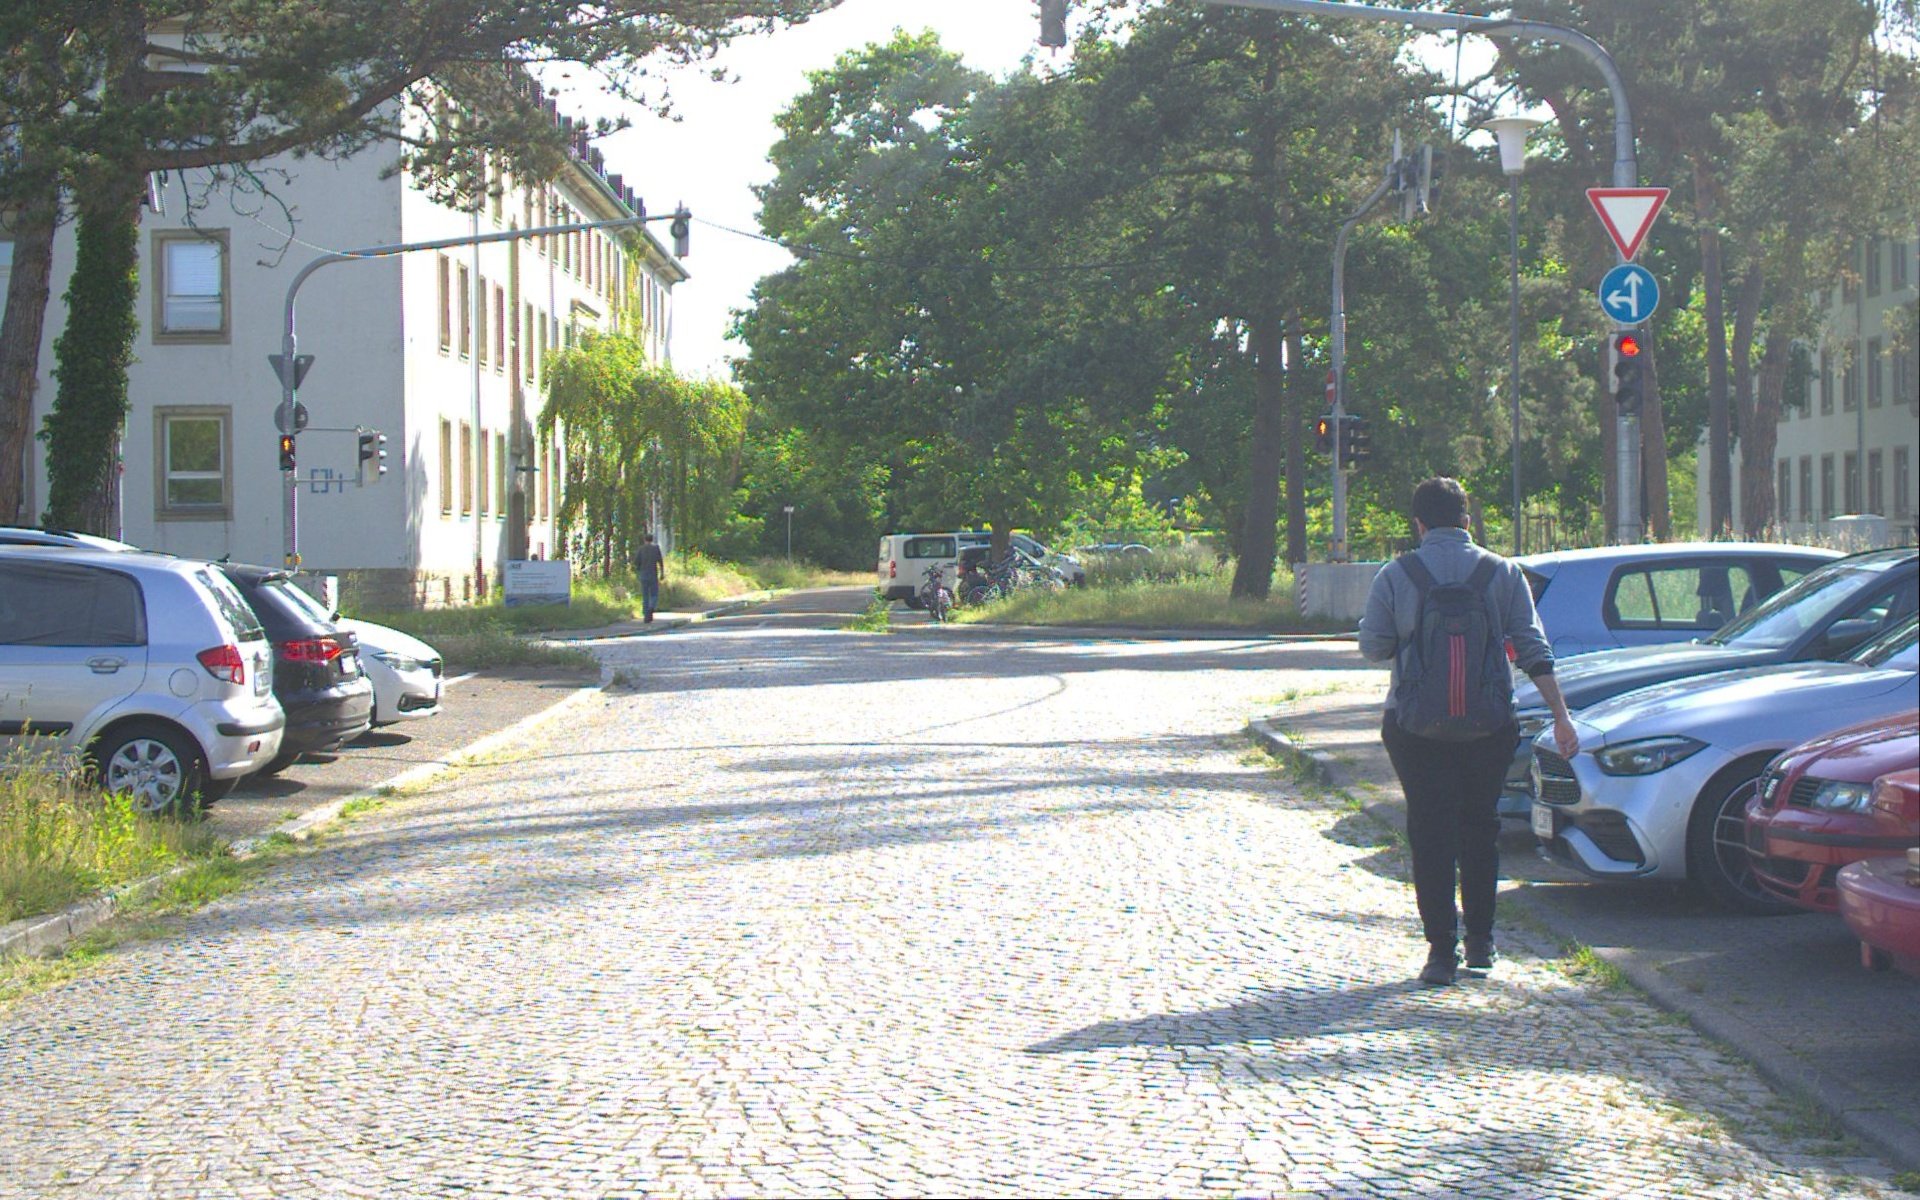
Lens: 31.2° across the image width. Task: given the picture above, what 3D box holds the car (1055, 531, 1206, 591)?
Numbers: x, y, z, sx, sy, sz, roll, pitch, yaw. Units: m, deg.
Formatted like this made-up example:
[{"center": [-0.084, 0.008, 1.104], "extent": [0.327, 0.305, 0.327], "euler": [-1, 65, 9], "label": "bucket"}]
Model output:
[{"center": [4.490, -1.039, 90.821], "extent": [3.743, 1.574, 1.742], "euler": [0, 1, -7], "label": "car"}]

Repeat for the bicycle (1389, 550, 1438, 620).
[{"center": [7.546, -0.263, 57.094], "extent": [0.722, 1.111, 2.582], "euler": [0, 1, 9], "label": "bicycle"}]

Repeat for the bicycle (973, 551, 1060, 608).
[{"center": [1.157, -0.422, 70.239], "extent": [1.727, 1.160, 0.561], "euler": [-1, 1, -3], "label": "bicycle"}]

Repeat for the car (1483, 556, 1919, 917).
[{"center": [4.613, 0.504, 14.781], "extent": [4.399, 1.384, 1.789], "euler": [-2, 1, -1], "label": "car"}]

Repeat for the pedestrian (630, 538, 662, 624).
[{"center": [-6.440, -0.391, 70.442], "extent": [0.607, 1.746, 0.630], "euler": [0, 1, -1], "label": "pedestrian"}]

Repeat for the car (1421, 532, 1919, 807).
[{"center": [4.658, 0.360, 20.059], "extent": [3.673, 1.438, 1.665], "euler": [-2, 1, 0], "label": "car"}]

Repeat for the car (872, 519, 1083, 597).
[{"center": [0.421, -1.073, 86.898], "extent": [5.065, 1.911, 2.001], "euler": [-1, 1, -9], "label": "car"}]

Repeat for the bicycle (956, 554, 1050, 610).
[{"center": [0.860, -0.364, 69.015], "extent": [1.834, 1.108, 0.495], "euler": [-1, 1, -3], "label": "bicycle"}]

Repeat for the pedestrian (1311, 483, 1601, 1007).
[{"center": [1.717, 0.484, 12.026], "extent": [0.753, 1.719, 0.828], "euler": [4, 1, -1], "label": "pedestrian"}]

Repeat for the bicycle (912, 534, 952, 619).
[{"center": [-0.540, -0.463, 65.558], "extent": [0.753, 1.575, 2.537], "euler": [0, 1, -1], "label": "bicycle"}]

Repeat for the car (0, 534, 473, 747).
[{"center": [-6.051, 0.286, 27.321], "extent": [3.987, 1.491, 1.772], "euler": [2, 1, 5], "label": "car"}]

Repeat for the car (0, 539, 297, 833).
[{"center": [-5.719, 0.414, 19.248], "extent": [3.685, 1.522, 1.699], "euler": [2, 1, -2], "label": "car"}]

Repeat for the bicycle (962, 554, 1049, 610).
[{"center": [0.925, -0.373, 69.559], "extent": [1.727, 1.108, 0.484], "euler": [-1, 1, -3], "label": "bicycle"}]

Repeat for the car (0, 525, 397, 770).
[{"center": [-6.124, 0.297, 24.662], "extent": [3.879, 1.610, 1.661], "euler": [2, 1, -1], "label": "car"}]

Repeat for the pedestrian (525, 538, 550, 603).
[{"center": [-10.202, -0.721, 82.989], "extent": [0.606, 1.554, 0.545], "euler": [0, 1, -7], "label": "pedestrian"}]

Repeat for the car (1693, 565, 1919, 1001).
[{"center": [4.839, 0.580, 12.462], "extent": [3.979, 1.443, 1.656], "euler": [-1, 1, -1], "label": "car"}]

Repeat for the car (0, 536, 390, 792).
[{"center": [-5.764, 0.344, 21.912], "extent": [3.937, 1.440, 1.691], "euler": [3, 1, -1], "label": "car"}]

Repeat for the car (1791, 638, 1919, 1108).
[{"center": [4.352, 0.750, 10.077], "extent": [3.460, 1.238, 1.536], "euler": [0, 1, 0], "label": "car"}]

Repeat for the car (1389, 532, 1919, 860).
[{"center": [4.663, 0.402, 17.521], "extent": [4.619, 1.450, 1.870], "euler": [-3, 1, -2], "label": "car"}]
